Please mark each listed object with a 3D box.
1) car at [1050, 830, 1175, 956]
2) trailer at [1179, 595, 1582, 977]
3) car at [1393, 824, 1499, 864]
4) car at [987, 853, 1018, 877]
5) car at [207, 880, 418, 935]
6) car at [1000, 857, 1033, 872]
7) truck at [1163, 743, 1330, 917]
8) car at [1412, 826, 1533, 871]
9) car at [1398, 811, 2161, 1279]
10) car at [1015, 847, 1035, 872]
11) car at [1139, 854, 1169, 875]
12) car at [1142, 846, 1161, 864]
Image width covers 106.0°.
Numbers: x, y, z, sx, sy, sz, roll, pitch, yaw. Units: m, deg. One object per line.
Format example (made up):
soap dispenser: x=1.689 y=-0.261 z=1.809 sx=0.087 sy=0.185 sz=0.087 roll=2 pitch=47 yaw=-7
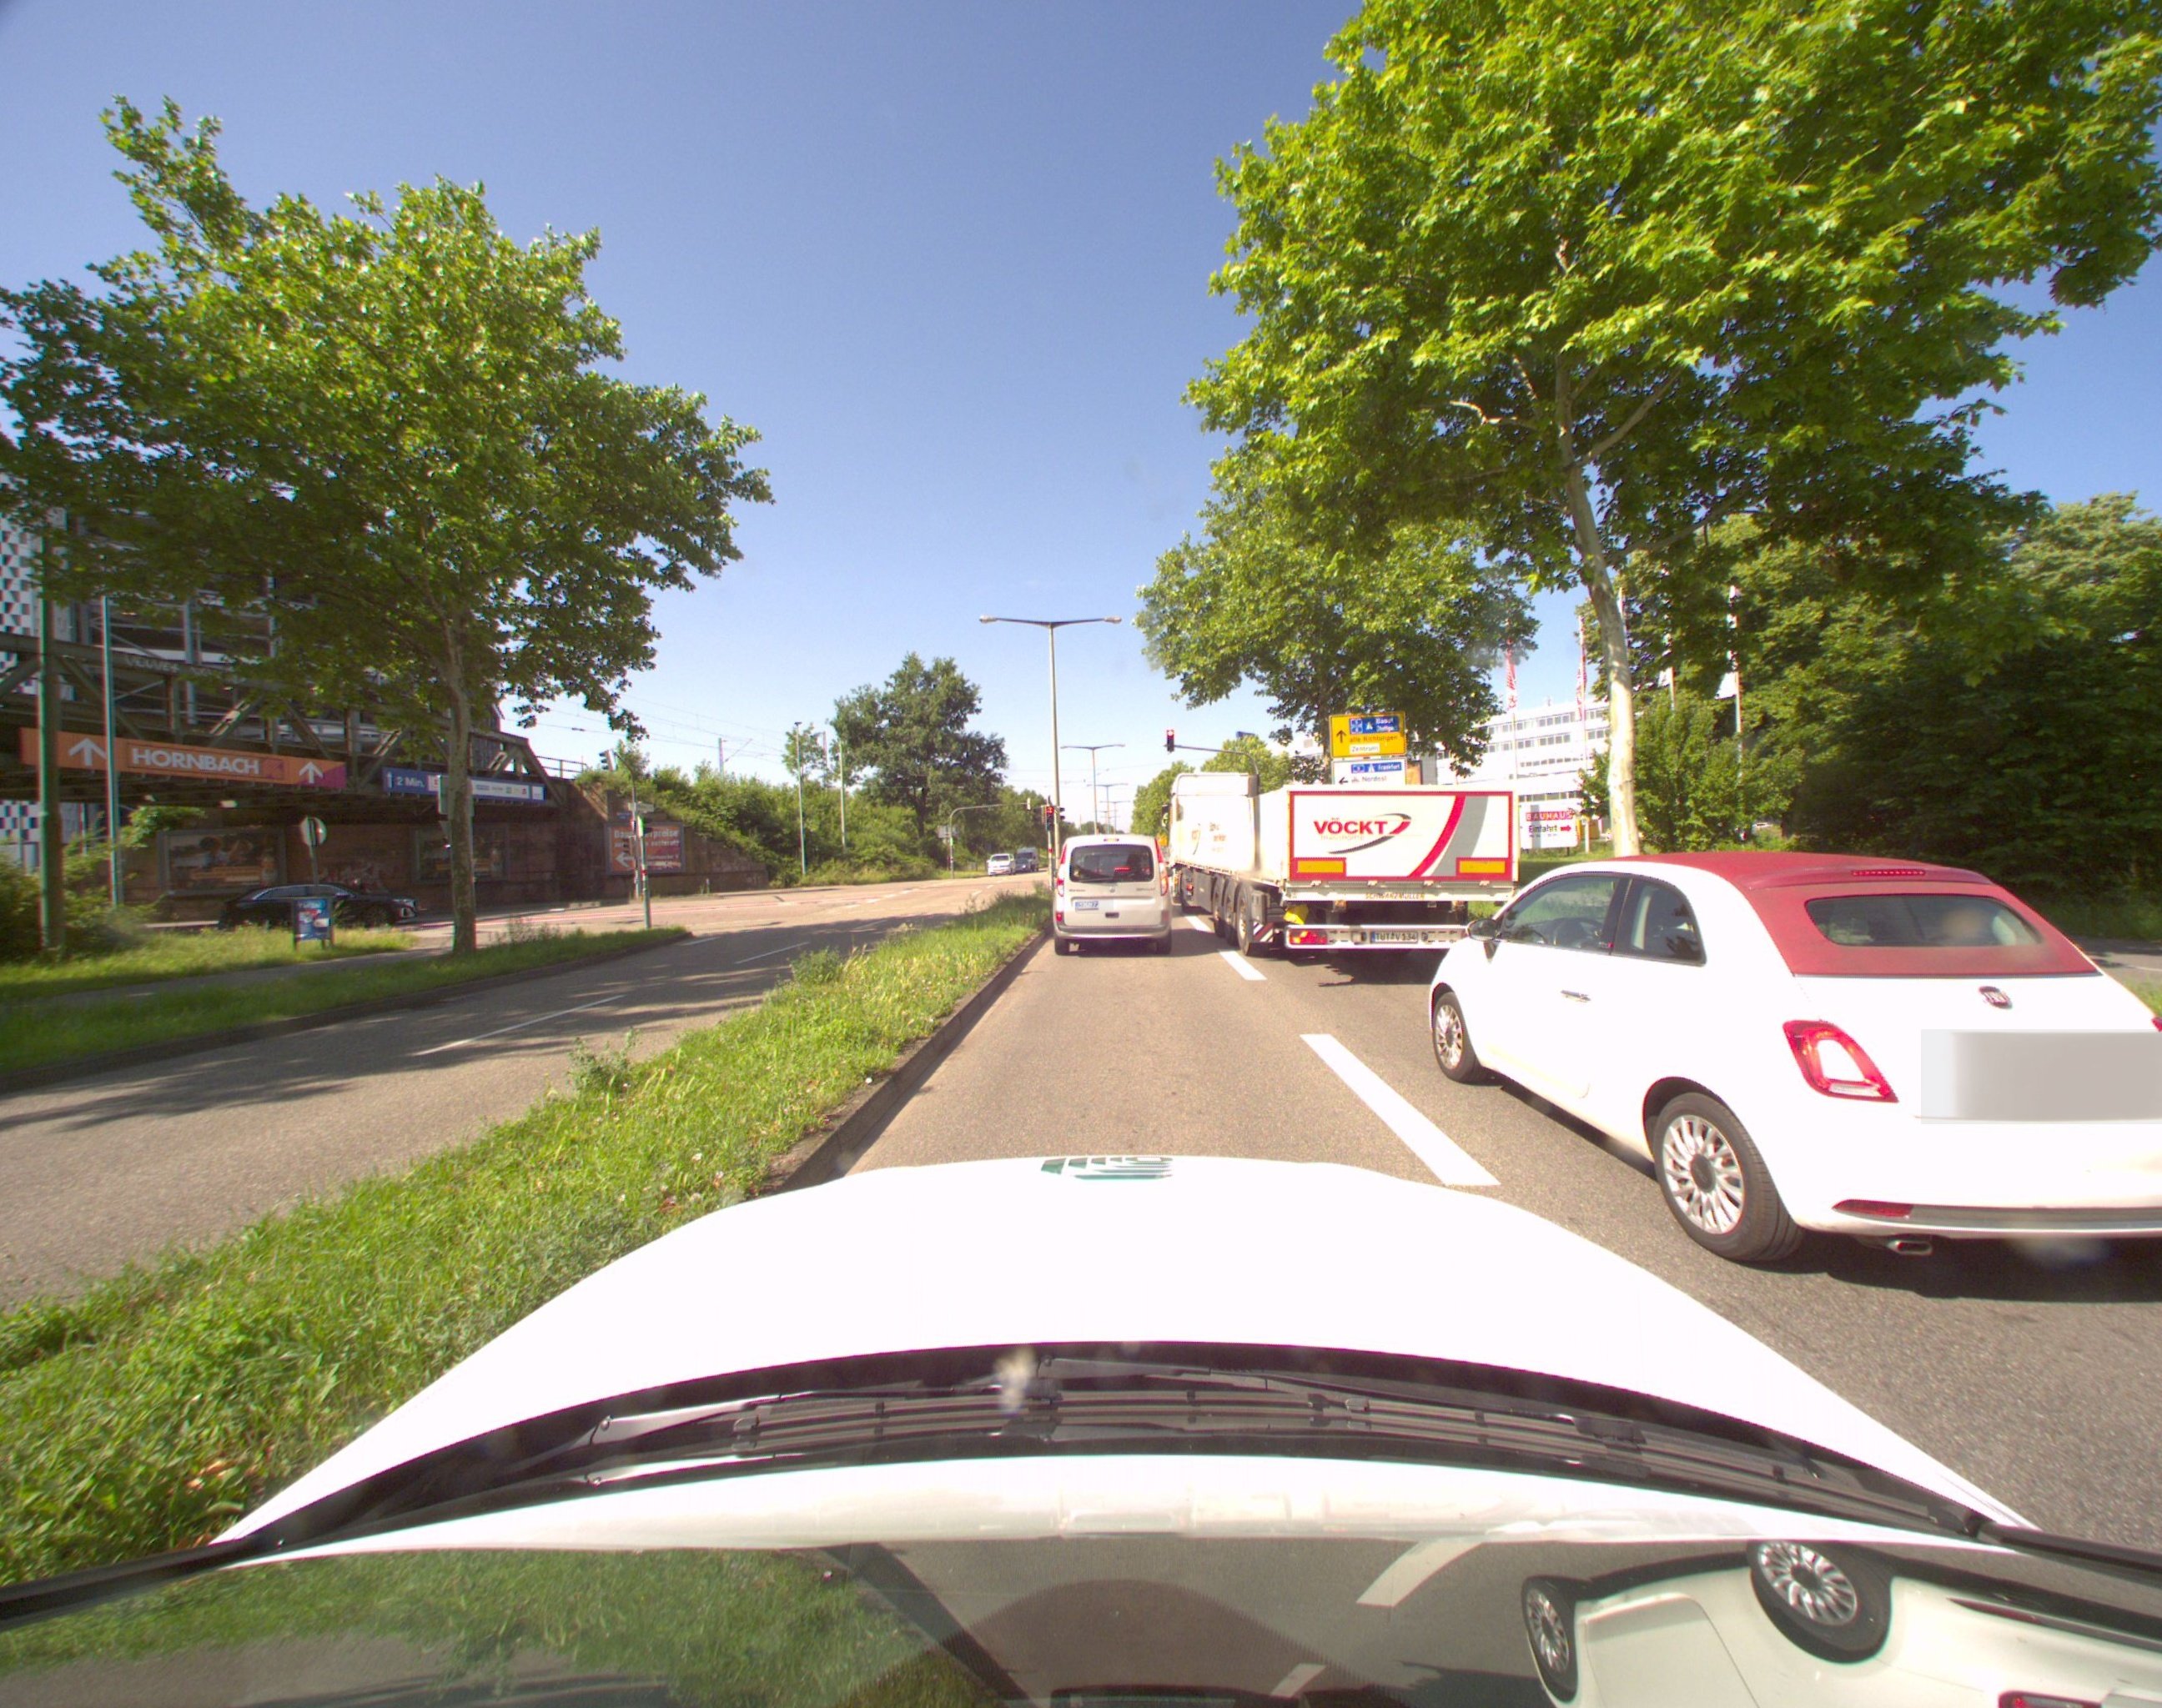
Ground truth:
car: x=0.512 y=0.561 z=13.529 sx=1.742 sy=1.772 sz=3.951 roll=-1 pitch=0 yaw=2
trailer: x=3.699 y=-0.652 z=14.219 sx=3.004 sy=3.740 sz=12.247 roll=-1 pitch=0 yaw=3
car: x=16.167 y=-0.442 z=36.193 sx=3.965 sy=1.662 sz=1.727 roll=-1 pitch=0 yaw=7
car: x=-6.660 y=0.905 z=69.631 sx=1.986 sy=1.891 sz=4.989 roll=-4 pitch=0 yaw=1
car: x=-26.118 y=1.763 z=27.966 sx=5.074 sy=1.596 sz=1.510 roll=-1 pitch=0 yaw=-35
car: x=-6.432 y=1.035 z=80.808 sx=1.920 sy=1.409 sz=4.193 roll=-1 pitch=0 yaw=-25
truck: x=4.011 y=-0.516 z=21.646 sx=3.060 sy=3.758 sz=7.478 roll=-1 pitch=0 yaw=1
car: x=15.410 y=-0.197 z=32.211 sx=3.965 sy=1.662 sz=1.727 roll=-1 pitch=0 yaw=7
car: x=3.092 y=0.597 z=4.278 sx=1.654 sy=1.436 sz=3.523 roll=-1 pitch=0 yaw=4
car: x=-6.120 y=0.583 z=88.553 sx=2.055 sy=2.614 sz=5.861 roll=-1 pitch=0 yaw=-4
car: x=6.077 y=0.854 z=68.124 sx=1.989 sy=1.640 sz=3.995 roll=-1 pitch=0 yaw=-3
car: x=8.393 y=0.113 z=96.910 sx=1.986 sy=2.014 sz=4.001 roll=-1 pitch=0 yaw=2
